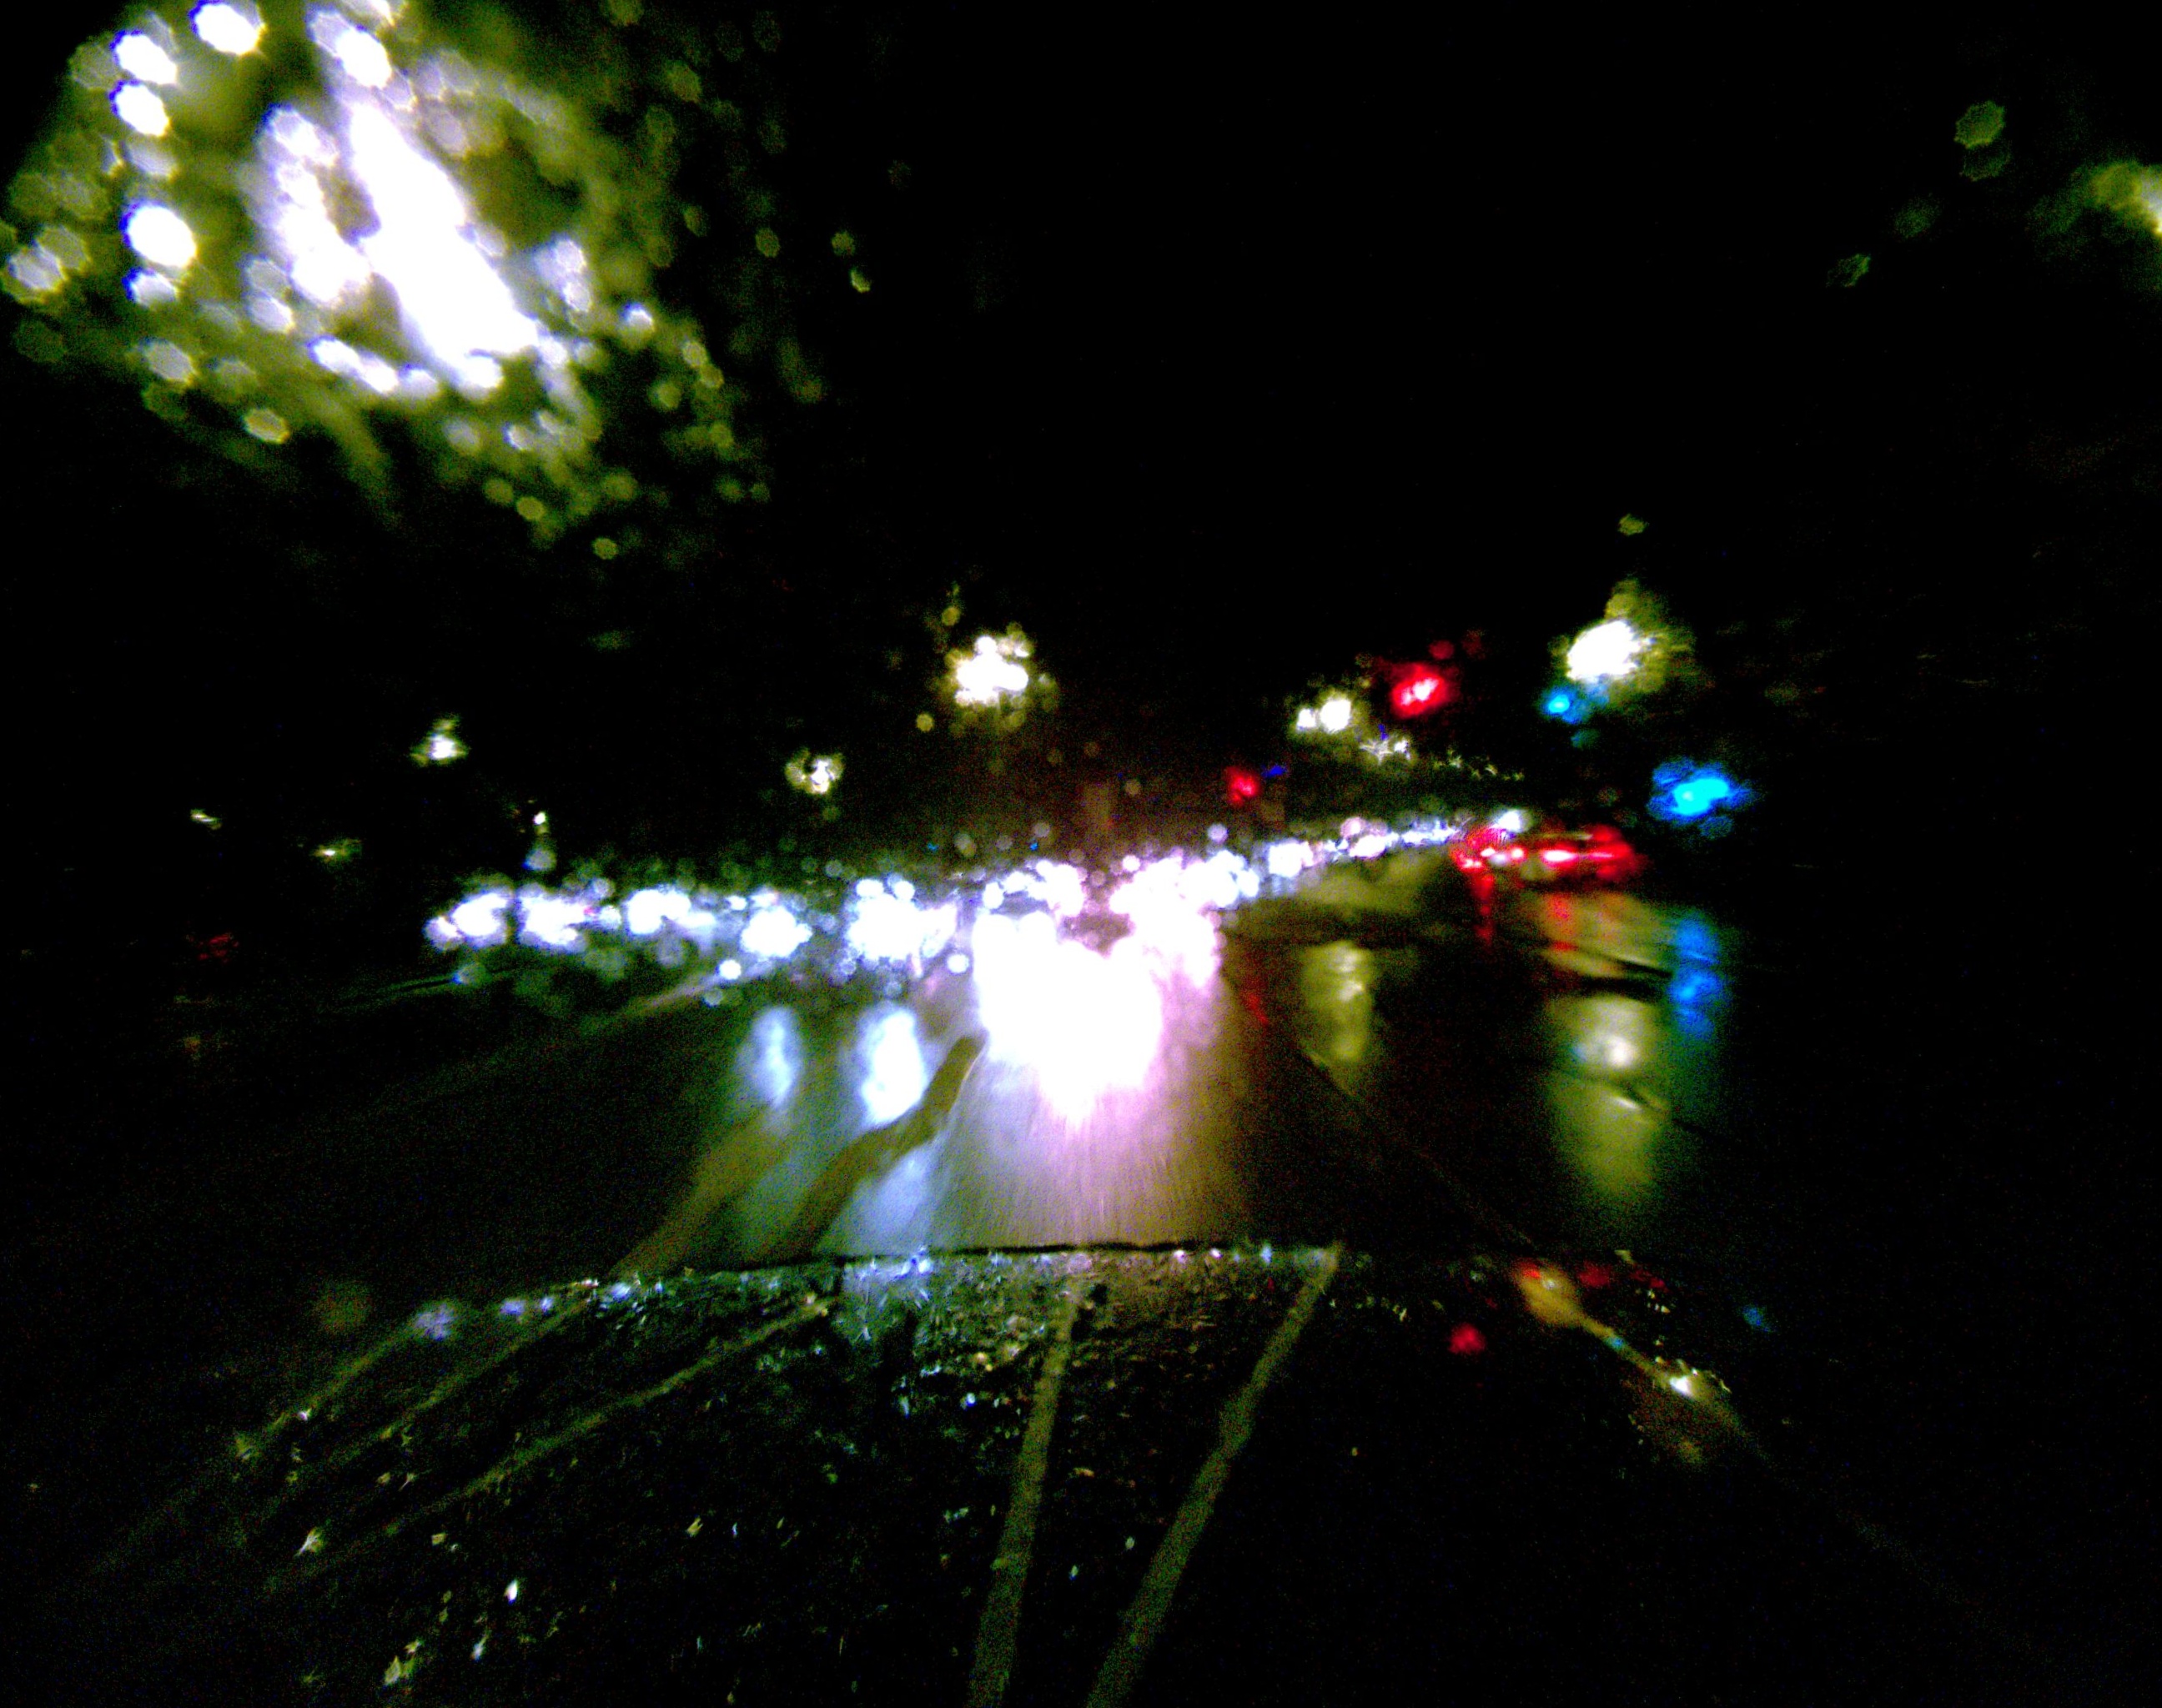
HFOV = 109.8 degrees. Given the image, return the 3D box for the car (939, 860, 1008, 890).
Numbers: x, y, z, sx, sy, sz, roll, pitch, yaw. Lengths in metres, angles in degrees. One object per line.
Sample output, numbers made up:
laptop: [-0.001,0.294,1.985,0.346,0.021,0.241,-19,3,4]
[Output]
car: [-7.104,1.371,50.116,4.264,1.688,1.998,-3,0,-13]

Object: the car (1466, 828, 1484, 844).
car: [49.525,-2.285,95.457,1.739,1.845,4.007,-3,0,30]

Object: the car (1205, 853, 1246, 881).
car: [11.380,1.001,59.655,1.832,2.002,4.007,-3,0,30]

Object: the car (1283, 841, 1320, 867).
car: [18.227,-0.002,62.630,1.995,2.002,4.007,-3,0,29]

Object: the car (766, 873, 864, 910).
car: [-12.618,1.775,36.058,4.108,1.630,2.003,-2,1,25]

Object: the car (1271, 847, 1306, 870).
car: [19.437,0.405,71.098,1.995,2.002,4.007,-3,0,33]

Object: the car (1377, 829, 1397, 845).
car: [41.522,-2.308,103.016,1.865,2.002,4.007,-3,0,31]

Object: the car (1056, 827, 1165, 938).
car: [0.799,0.510,17.100,1.997,2.003,4.000,-4,3,7]

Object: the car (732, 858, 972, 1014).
car: [-2.939,0.959,10.828,1.927,1.704,4.239,-1,0,3]

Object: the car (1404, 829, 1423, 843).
car: [49.154,-2.672,112.294,1.865,2.002,4.007,-3,0,31]

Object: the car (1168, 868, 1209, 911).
car: [4.648,1.494,32.638,1.304,1.520,3.049,-7,0,13]

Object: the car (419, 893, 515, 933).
car: [-29.844,2.866,36.923,4.336,1.630,2.003,-4,1,28]

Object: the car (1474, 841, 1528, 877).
car: [19.986,0.218,36.296,1.987,1.595,4.842,-1,0,26]

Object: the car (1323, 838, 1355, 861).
car: [24.925,-0.458,73.300,1.865,2.002,4.007,-3,0,34]

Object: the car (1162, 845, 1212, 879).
car: [6.785,0.466,48.330,1.866,2.002,4.007,-3,0,26]

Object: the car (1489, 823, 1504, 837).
car: [59.609,-3.421,108.960,1.739,1.845,4.007,-3,0,30]

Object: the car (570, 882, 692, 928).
car: [-18.162,2.023,30.635,4.770,1.630,2.003,-2,1,28]

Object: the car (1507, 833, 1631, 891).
car: [15.009,0.213,23.690,1.988,1.595,4.839,-1,0,17]

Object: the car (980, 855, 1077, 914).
car: [-1.552,0.888,24.212,2.045,1.610,4.290,-3,0,10]

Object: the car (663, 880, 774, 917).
car: [-15.739,1.925,32.995,4.534,1.401,2.003,-2,1,28]

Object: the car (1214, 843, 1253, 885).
car: [9.542,0.584,47.302,1.997,2.003,4.000,-7,4,13]

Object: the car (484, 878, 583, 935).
car: [-24.244,2.337,33.622,3.991,2.003,1.765,-6,4,29]

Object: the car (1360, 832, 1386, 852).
car: [32.162,-1.318,83.609,1.865,2.002,4.007,-3,0,31]
